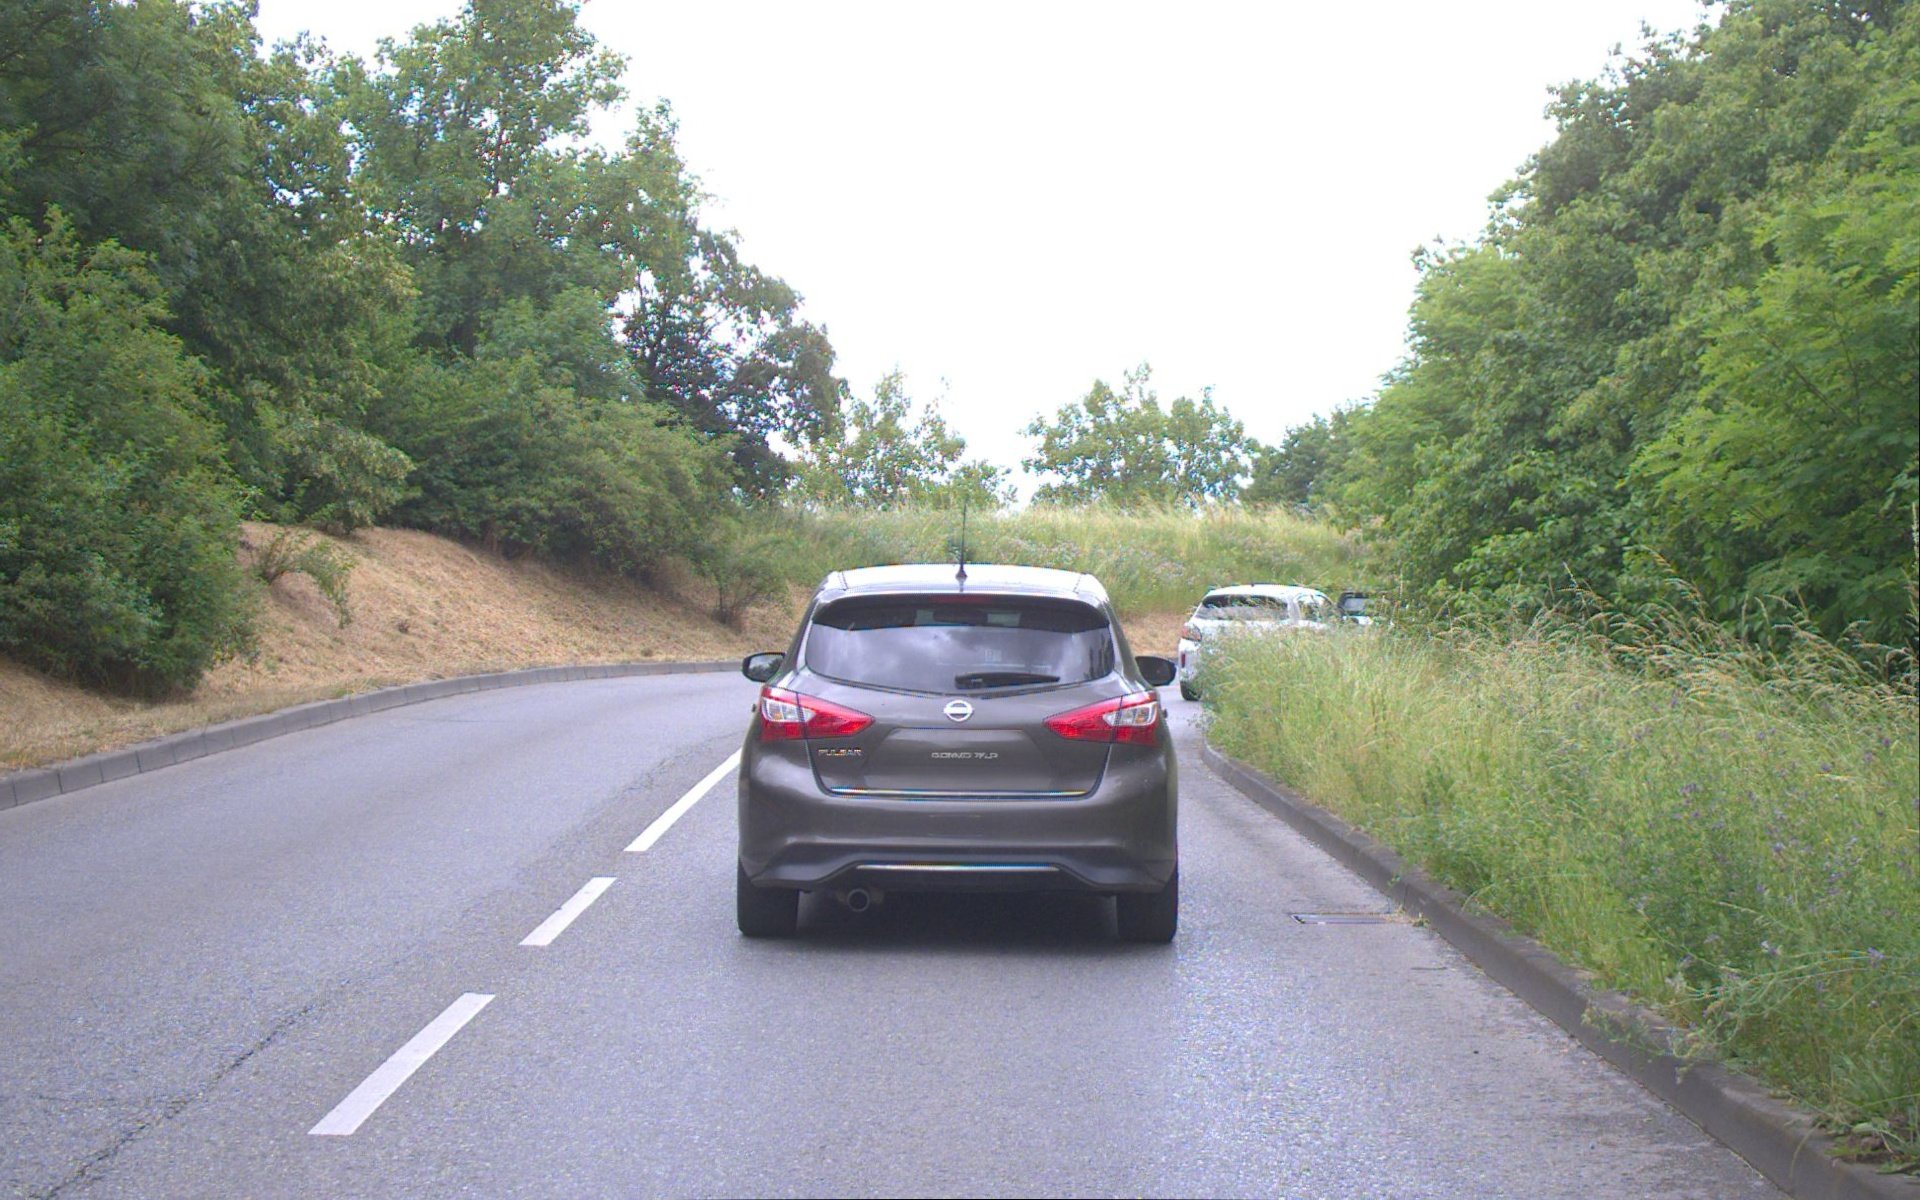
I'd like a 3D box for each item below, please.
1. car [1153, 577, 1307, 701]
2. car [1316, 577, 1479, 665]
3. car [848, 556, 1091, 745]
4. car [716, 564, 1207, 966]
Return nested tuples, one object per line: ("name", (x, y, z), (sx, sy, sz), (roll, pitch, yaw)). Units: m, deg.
("car", (3.507, 0.468, 44.182), (1.721, 1.489, 3.576), (0, 1, 8))
("car", (7.382, 0.327, 57.761), (1.799, 1.393, 3.996), (0, 1, 21))
("car", (0.012, 0.379, 29.942), (1.844, 1.488, 4.228), (-1, 1, -3))
("car", (-0.081, 0.608, 15.046), (1.844, 1.488, 4.001), (1, 1, -3))
